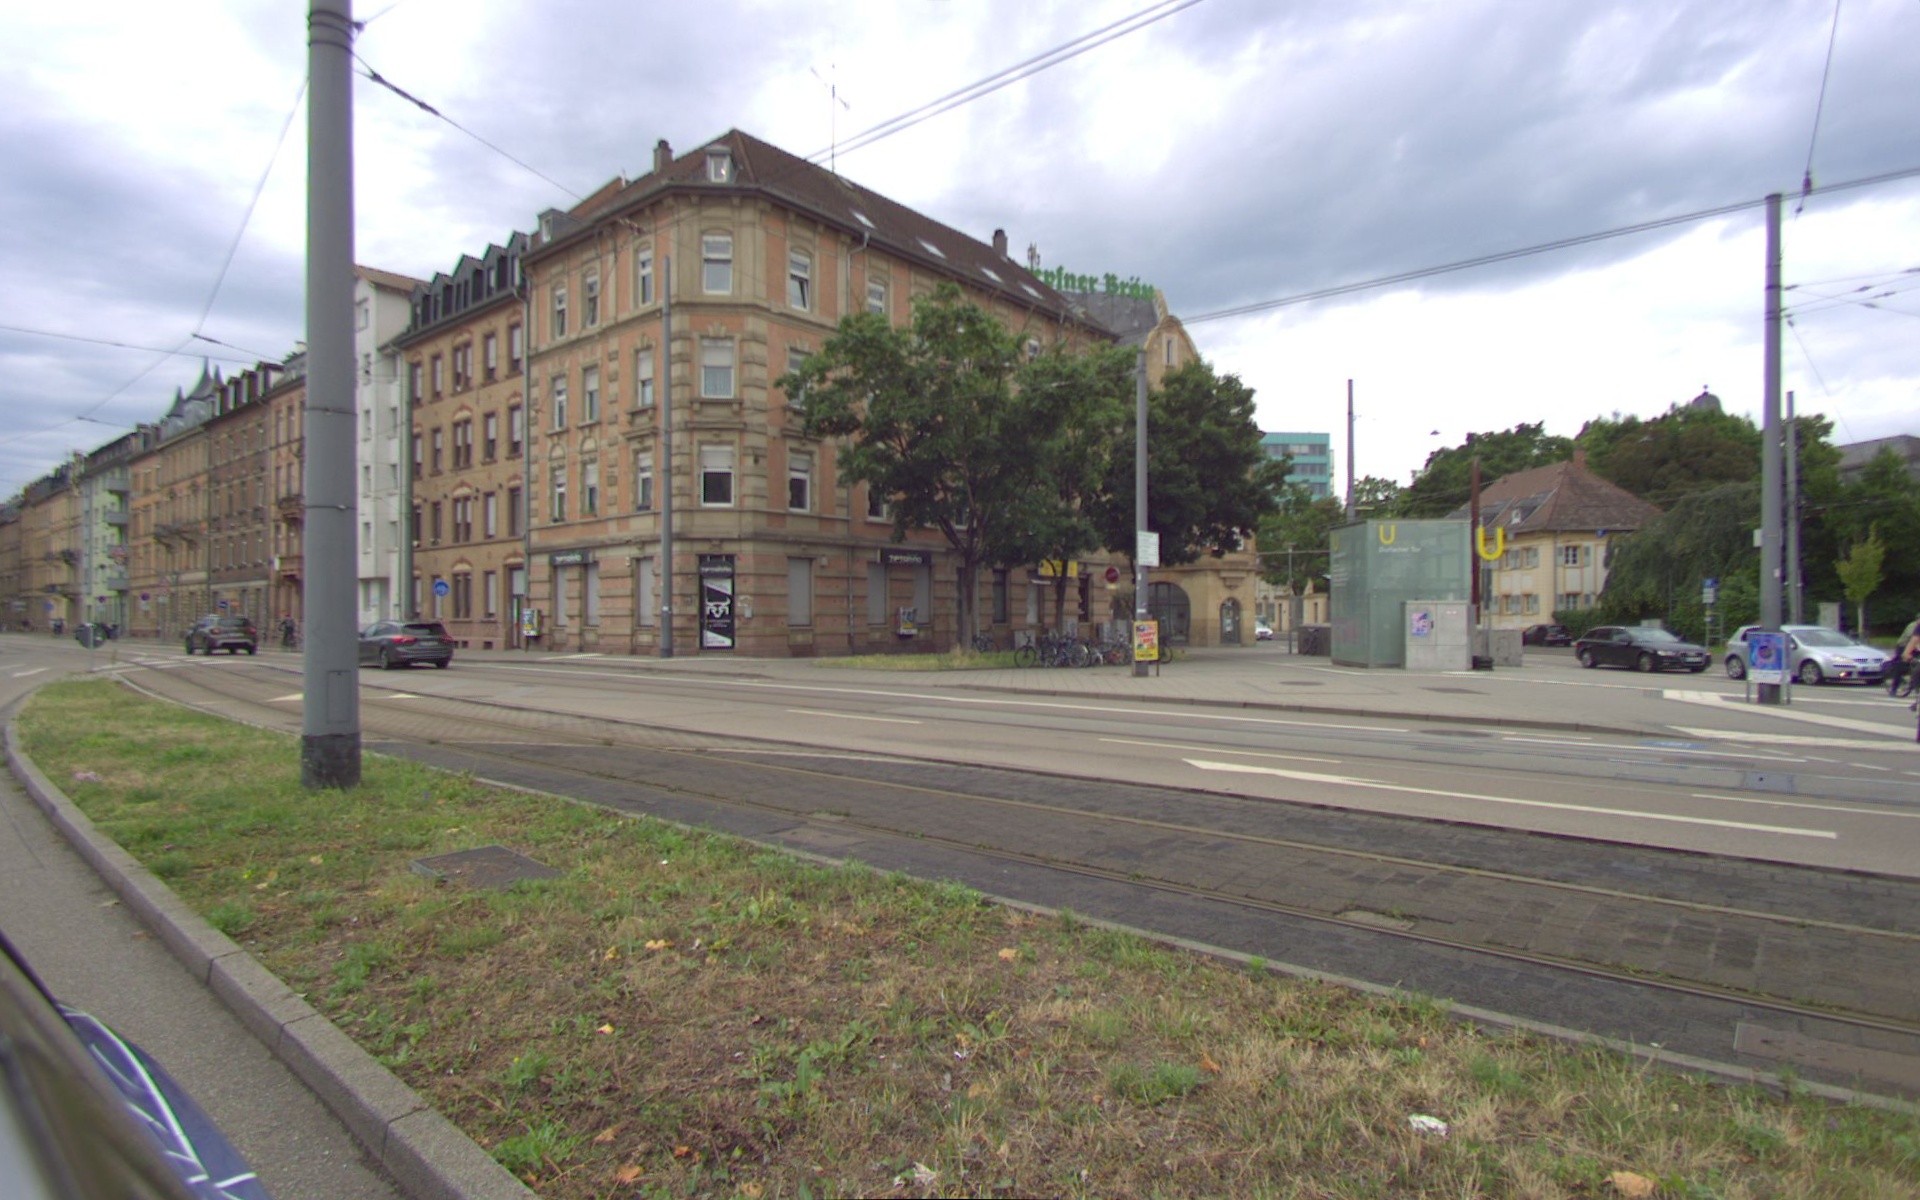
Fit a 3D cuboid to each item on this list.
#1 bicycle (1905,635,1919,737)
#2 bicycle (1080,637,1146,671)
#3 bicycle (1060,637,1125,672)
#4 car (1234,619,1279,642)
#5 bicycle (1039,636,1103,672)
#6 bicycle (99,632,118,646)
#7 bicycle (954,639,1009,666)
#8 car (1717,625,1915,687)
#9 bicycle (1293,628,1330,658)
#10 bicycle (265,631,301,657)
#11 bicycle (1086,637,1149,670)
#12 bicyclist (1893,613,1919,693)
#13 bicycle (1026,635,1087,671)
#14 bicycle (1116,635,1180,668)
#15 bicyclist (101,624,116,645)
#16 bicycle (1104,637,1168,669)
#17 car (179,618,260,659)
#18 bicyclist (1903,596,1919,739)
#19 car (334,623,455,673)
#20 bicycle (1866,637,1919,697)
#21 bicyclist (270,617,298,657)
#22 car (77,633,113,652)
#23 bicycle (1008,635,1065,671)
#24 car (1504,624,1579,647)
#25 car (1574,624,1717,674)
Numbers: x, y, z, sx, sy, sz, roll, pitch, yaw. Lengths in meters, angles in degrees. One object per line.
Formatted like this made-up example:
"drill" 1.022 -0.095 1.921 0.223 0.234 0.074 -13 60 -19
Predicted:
"bicycle" 12.728 1.084 12.994 0.816 1.252 1.971 -3 -4 43
"bicycle" 4.798 1.688 31.839 0.601 0.994 2.224 0 -1 -39
"bicycle" 4.030 1.636 30.842 0.492 0.994 2.224 0 -1 -39
"car" 22.650 2.318 77.460 1.969 1.741 4.005 0 -1 -6
"bicycle" 3.312 1.602 30.509 0.472 1.014 2.224 0 -1 -39
"bicycle" -59.316 2.703 70.486 1.716 0.922 0.600 -1 -1 37
"bicycle" 0.807 1.968 38.002 1.982 0.921 0.655 -4 -5 31
"car" 21.895 1.383 26.136 1.739 1.465 4.156 -1 -1 4
"bicycle" 13.929 1.700 40.128 0.730 1.123 2.361 -1 -1 3
"bicycle" -32.327 2.110 48.335 2.232 1.217 0.816 -2 -3 40
"bicycle" 5.031 1.687 32.497 0.492 0.994 2.224 0 -1 -39
"bicyclist" 19.961 1.082 20.716 0.843 1.635 0.917 0 -2 1
"bicycle" 2.860 1.559 30.183 0.513 0.994 2.041 0 -1 -39
"bicycle" 6.355 1.727 34.285 0.678 1.047 2.224 0 -1 -39
"bicyclist" -59.317 2.401 70.493 0.941 1.506 0.655 -1 -1 37
"bicycle" 5.755 1.727 33.160 0.576 0.994 2.224 0 -1 -39
"car" -31.542 1.603 43.054 4.225 1.652 1.780 -1 -1 39
"bicyclist" 12.777 0.855 13.053 0.816 1.812 1.015 -3 -3 43
"car" -17.175 1.419 30.658 4.387 1.406 1.676 -1 -2 39
"bicycle" 19.957 1.380 20.715 0.845 1.217 2.197 0 -1 1
"bicyclist" -32.275 1.771 48.309 1.048 1.906 0.821 -2 -3 39
"car" -68.771 3.357 80.437 3.828 1.491 1.828 -1 -2 43
"bicycle" 2.245 1.542 29.756 0.492 0.994 1.872 1 -2 -41
"car" 35.608 2.149 62.091 1.904 1.298 4.006 0 -1 -7
"car" 21.794 1.519 32.382 1.673 1.460 4.144 -1 -1 -1
